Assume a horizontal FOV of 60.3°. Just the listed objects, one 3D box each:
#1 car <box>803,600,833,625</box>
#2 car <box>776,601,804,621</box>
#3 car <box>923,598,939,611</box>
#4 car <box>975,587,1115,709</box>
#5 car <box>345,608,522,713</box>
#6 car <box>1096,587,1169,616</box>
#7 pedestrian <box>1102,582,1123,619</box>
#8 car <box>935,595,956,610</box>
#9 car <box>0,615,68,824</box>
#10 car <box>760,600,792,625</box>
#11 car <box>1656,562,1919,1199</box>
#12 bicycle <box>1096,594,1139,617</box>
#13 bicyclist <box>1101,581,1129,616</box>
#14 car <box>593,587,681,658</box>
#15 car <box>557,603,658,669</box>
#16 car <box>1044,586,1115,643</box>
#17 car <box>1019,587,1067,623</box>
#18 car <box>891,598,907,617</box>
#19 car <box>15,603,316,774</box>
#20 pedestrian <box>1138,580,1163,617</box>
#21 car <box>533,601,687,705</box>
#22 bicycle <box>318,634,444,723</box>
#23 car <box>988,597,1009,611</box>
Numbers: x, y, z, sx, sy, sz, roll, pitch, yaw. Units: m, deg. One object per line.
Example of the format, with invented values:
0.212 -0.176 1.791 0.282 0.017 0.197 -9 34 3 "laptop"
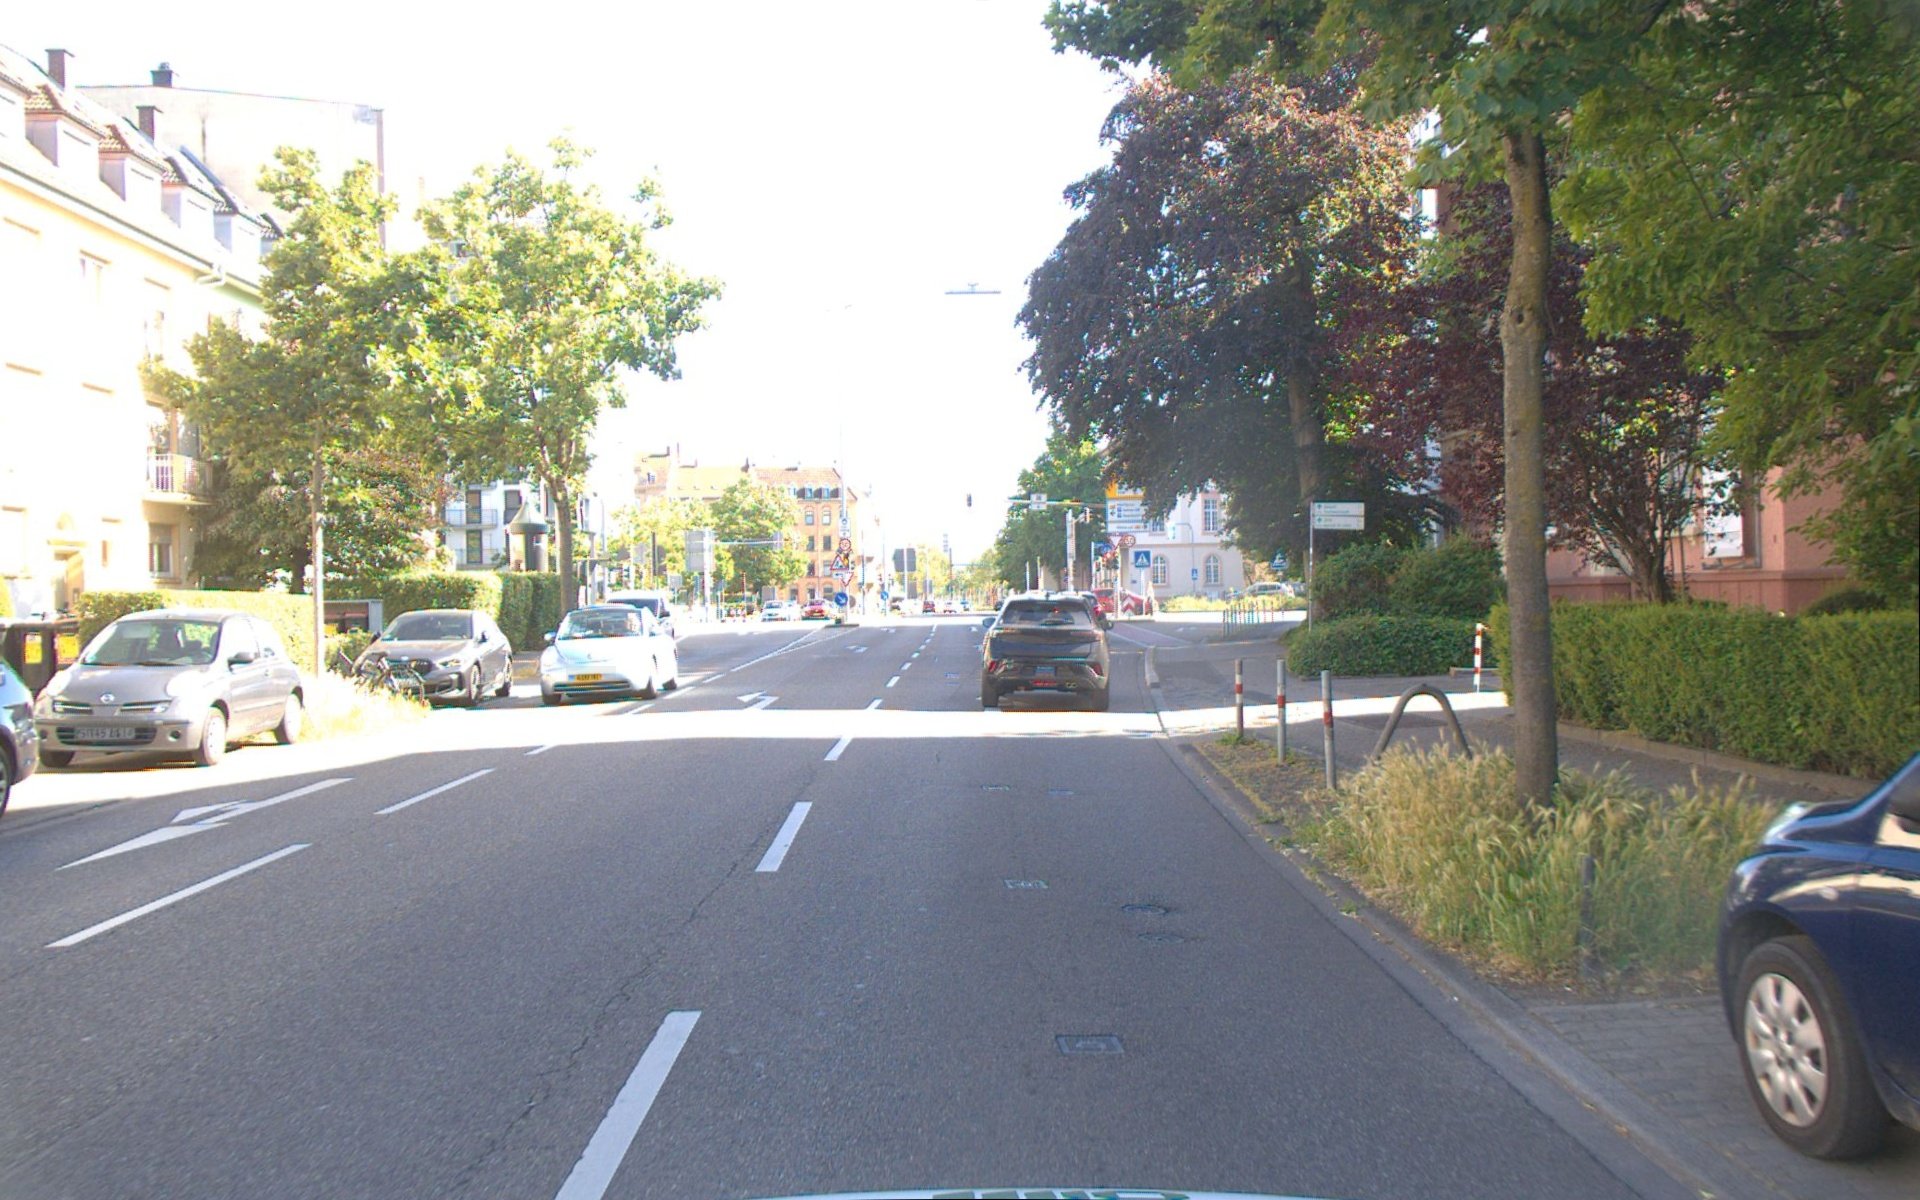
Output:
-9.855 0.836 115.197 1.755 1.645 3.999 -1 0 -1 "car"
-13.430 0.860 130.467 1.836 1.473 3.999 -1 0 -1 "car"
-3.320 0.526 187.098 1.774 1.431 3.999 -1 0 -2 "car"
1.136 0.623 23.501 1.710 1.601 3.557 0 0 -2 "car"
-8.226 0.885 26.236 1.733 1.433 4.362 -1 1 -5 "car"
9.271 0.067 88.827 3.790 1.478 1.779 -1 0 9 "car"
7.171 0.022 77.924 0.810 1.731 0.916 -1 0 -7 "pedestrian"
-1.757 0.295 200.891 2.133 1.728 3.995 -2 0 -5 "car"
-7.874 0.920 10.838 1.749 1.519 4.491 -1 1 -3 "car"
-13.009 0.880 116.958 1.836 1.645 3.999 -1 0 -1 "car"
3.064 0.660 3.351 1.529 1.541 3.652 -3 0 -3 "car"
7.664 0.264 80.408 1.999 1.079 0.619 -1 0 -18 "bicycle"
7.512 -0.090 80.350 1.146 1.662 0.726 -1 0 -17 "bicyclist"
-8.989 0.580 46.403 1.782 1.866 4.559 -1 0 -3 "car"
-8.637 0.854 40.812 1.637 1.482 4.110 -1 0 -1 "car"
3.593 0.413 50.331 1.793 1.606 3.839 -2 0 -1 "car"
3.543 0.204 71.010 1.793 1.478 3.987 -1 0 -1 "car"
-7.303 0.903 198.859 1.774 2.172 3.999 -1 0 -1 "car"
-8.202 0.844 17.432 1.642 1.552 3.655 1 0 -5 "car"
9.074 -0.068 78.775 1.020 1.689 0.783 -2 0 -5 "pedestrian"
-5.489 0.783 26.366 1.703 1.405 3.935 -3 1 -2 "car"
-8.046 1.082 23.013 1.512 1.154 0.548 -2 0 -3 "bicycle"
5.110 0.535 219.622 1.821 1.689 4.003 1 0 16 "car"
